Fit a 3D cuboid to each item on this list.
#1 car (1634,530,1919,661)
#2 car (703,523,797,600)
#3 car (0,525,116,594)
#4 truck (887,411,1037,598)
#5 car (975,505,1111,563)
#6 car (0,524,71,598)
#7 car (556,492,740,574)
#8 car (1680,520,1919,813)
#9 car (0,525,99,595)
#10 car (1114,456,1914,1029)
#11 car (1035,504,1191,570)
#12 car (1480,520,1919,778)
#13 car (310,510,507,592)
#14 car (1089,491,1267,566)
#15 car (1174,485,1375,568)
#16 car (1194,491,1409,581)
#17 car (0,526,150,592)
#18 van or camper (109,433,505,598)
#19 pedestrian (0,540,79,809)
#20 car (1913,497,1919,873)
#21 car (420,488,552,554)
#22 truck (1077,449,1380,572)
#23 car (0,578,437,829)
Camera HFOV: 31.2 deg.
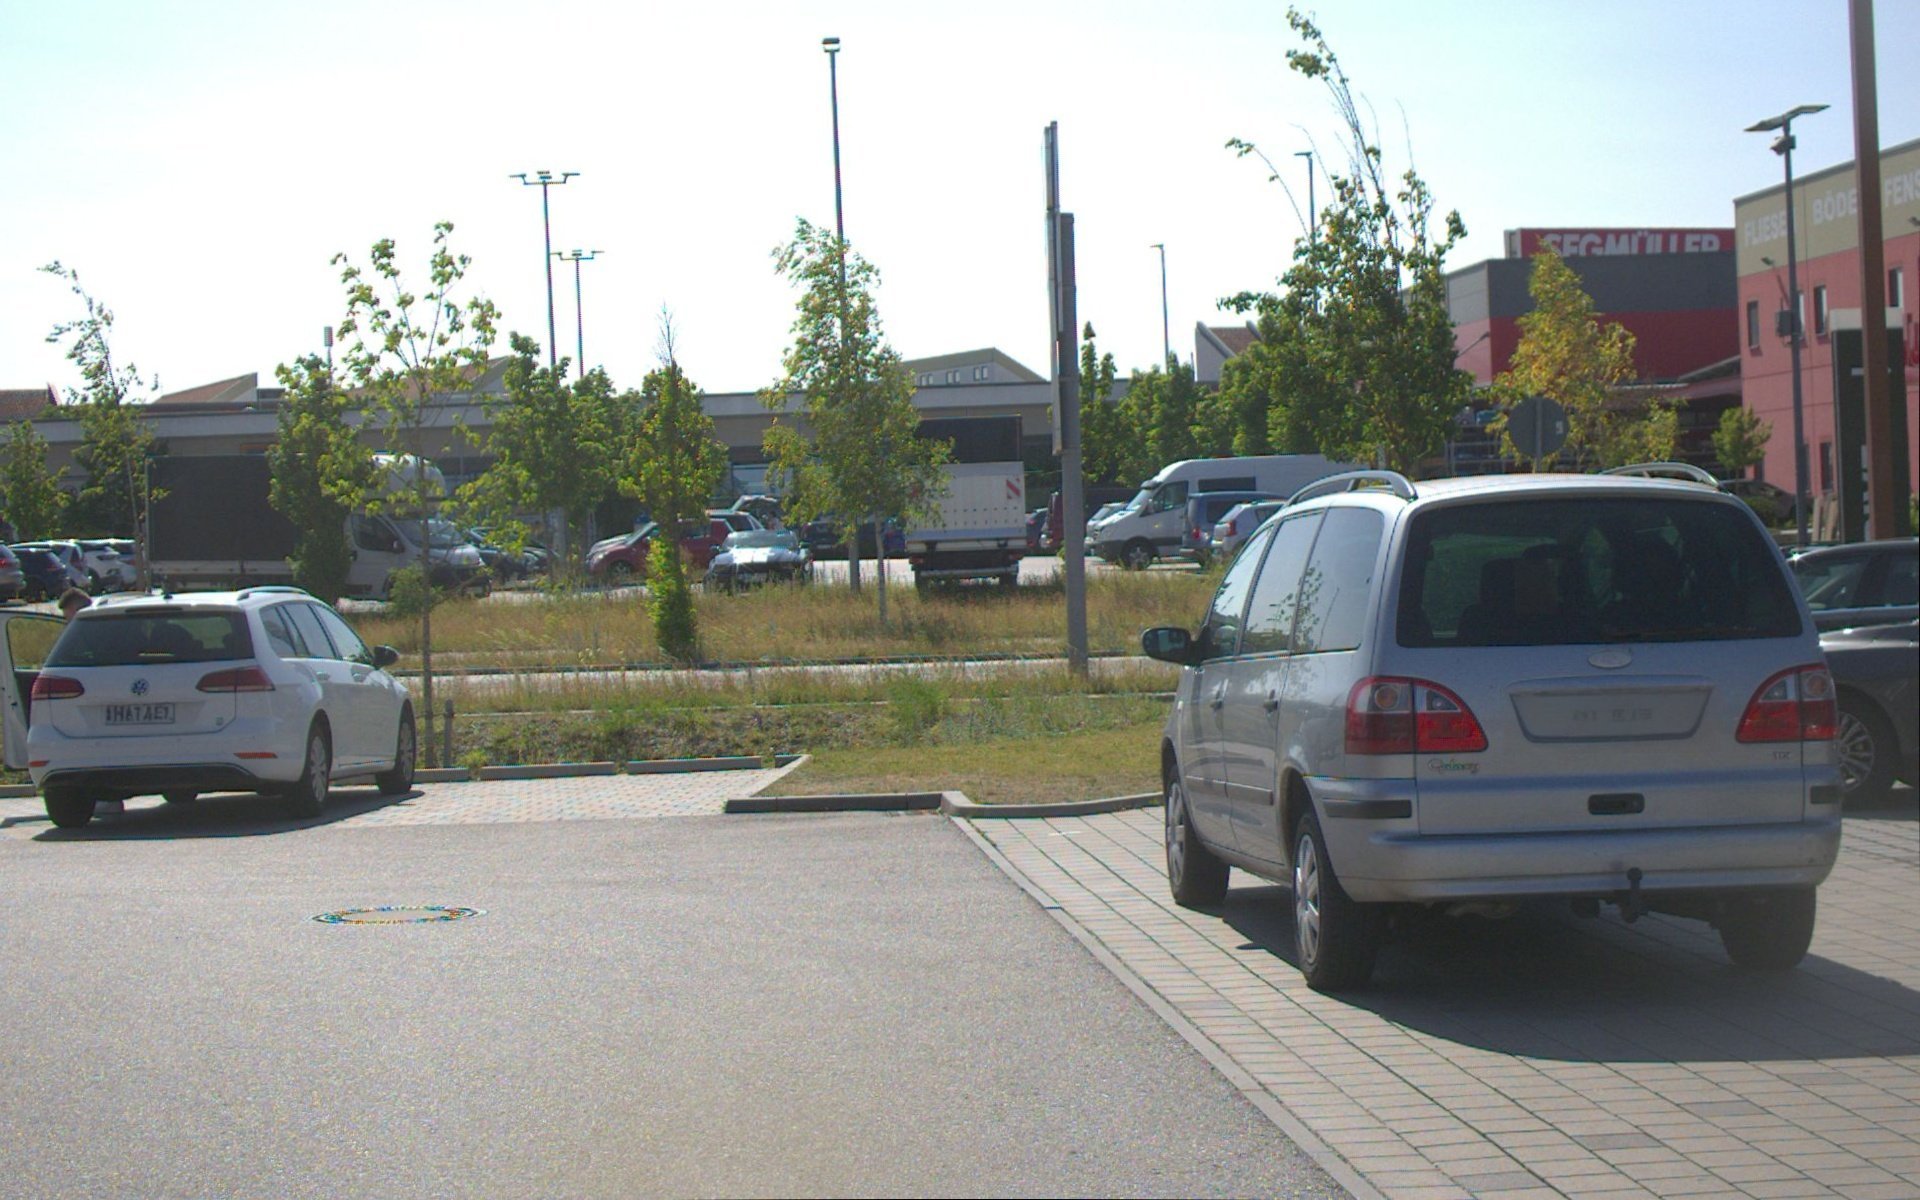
[{"bbox_3d":[10.433,-0.074,42.093,3.987,1.490,1.677,-1,1,-1],"label":"car"},{"bbox_3d":[-4.173,-0.785,68.838,1.650,1.454,3.967,-1,1,0],"label":"car"},{"bbox_3d":[-25.902,-1.118,95.699,4.389,1.849,1.956,-1,1,-5],"label":"car"},{"bbox_3d":[0.049,-1.869,68.449,2.759,3.468,6.833,-1,1,0],"label":"truck"},{"bbox_3d":[2.805,-2.241,116.636,4.389,1.849,1.956,-1,1,-5],"label":"car"},{"bbox_3d":[-25.295,-0.988,88.469,4.389,1.849,1.956,-1,1,-5],"label":"car"},{"bbox_3d":[-7.398,-1.594,81.547,4.253,1.849,1.870,-1,1,-5],"label":"car"},{"bbox_3d":[6.195,0.314,18.264,4.201,1.521,1.972,0,1,32],"label":"car"},{"bbox_3d":[-25.797,-1.074,93.348,4.389,1.849,1.956,-1,1,-5],"label":"car"},{"bbox_3d":[1.863,0.413,13.170,1.827,1.742,4.684,-2,1,-6],"label":"car"},{"bbox_3d":[4.563,-1.883,102.914,4.389,1.849,1.956,-1,1,-5],"label":"car"},{"bbox_3d":[5.719,0.273,21.903,4.328,1.521,1.971,0,2,39],"label":"car"},{"bbox_3d":[-14.270,-1.275,88.989,4.914,2.007,2.083,-1,1,-9],"label":"car"},{"bbox_3d":[5.702,-1.874,90.256,4.389,1.849,1.956,-1,1,-5],"label":"car"},{"bbox_3d":[7.385,-1.725,80.856,4.389,1.849,1.956,-1,1,-5],"label":"car"},{"bbox_3d":[7.493,-1.411,75.648,4.389,1.849,1.956,-1,1,-5],"label":"car"},{"bbox_3d":[-26.301,-1.223,101.476,4.389,1.849,1.956,-1,1,-5],"label":"car"},{"bbox_3d":[-13.163,-1.656,69.042,8.041,3.091,2.416,-1,1,28],"label":"van or camper"},{"bbox_3d":[-6.619,0.512,23.524,0.991,1.803,0.726,-2,0,-5],"label":"pedestrian"},{"bbox_3d":[6.494,0.327,14.960,4.199,1.649,1.973,-1,1,27],"label":"car"},{"bbox_3d":[-15.279,-2.543,110.948,3.986,2.007,2.000,-1,1,-2],"label":"car"},{"bbox_3d":[6.474,-2.160,83.313,7.034,2.805,1.956,-1,1,-5],"label":"truck"},{"bbox_3d":[-4.861,0.626,22.996,1.827,1.464,4.481,-2,0,2],"label":"car"}]
